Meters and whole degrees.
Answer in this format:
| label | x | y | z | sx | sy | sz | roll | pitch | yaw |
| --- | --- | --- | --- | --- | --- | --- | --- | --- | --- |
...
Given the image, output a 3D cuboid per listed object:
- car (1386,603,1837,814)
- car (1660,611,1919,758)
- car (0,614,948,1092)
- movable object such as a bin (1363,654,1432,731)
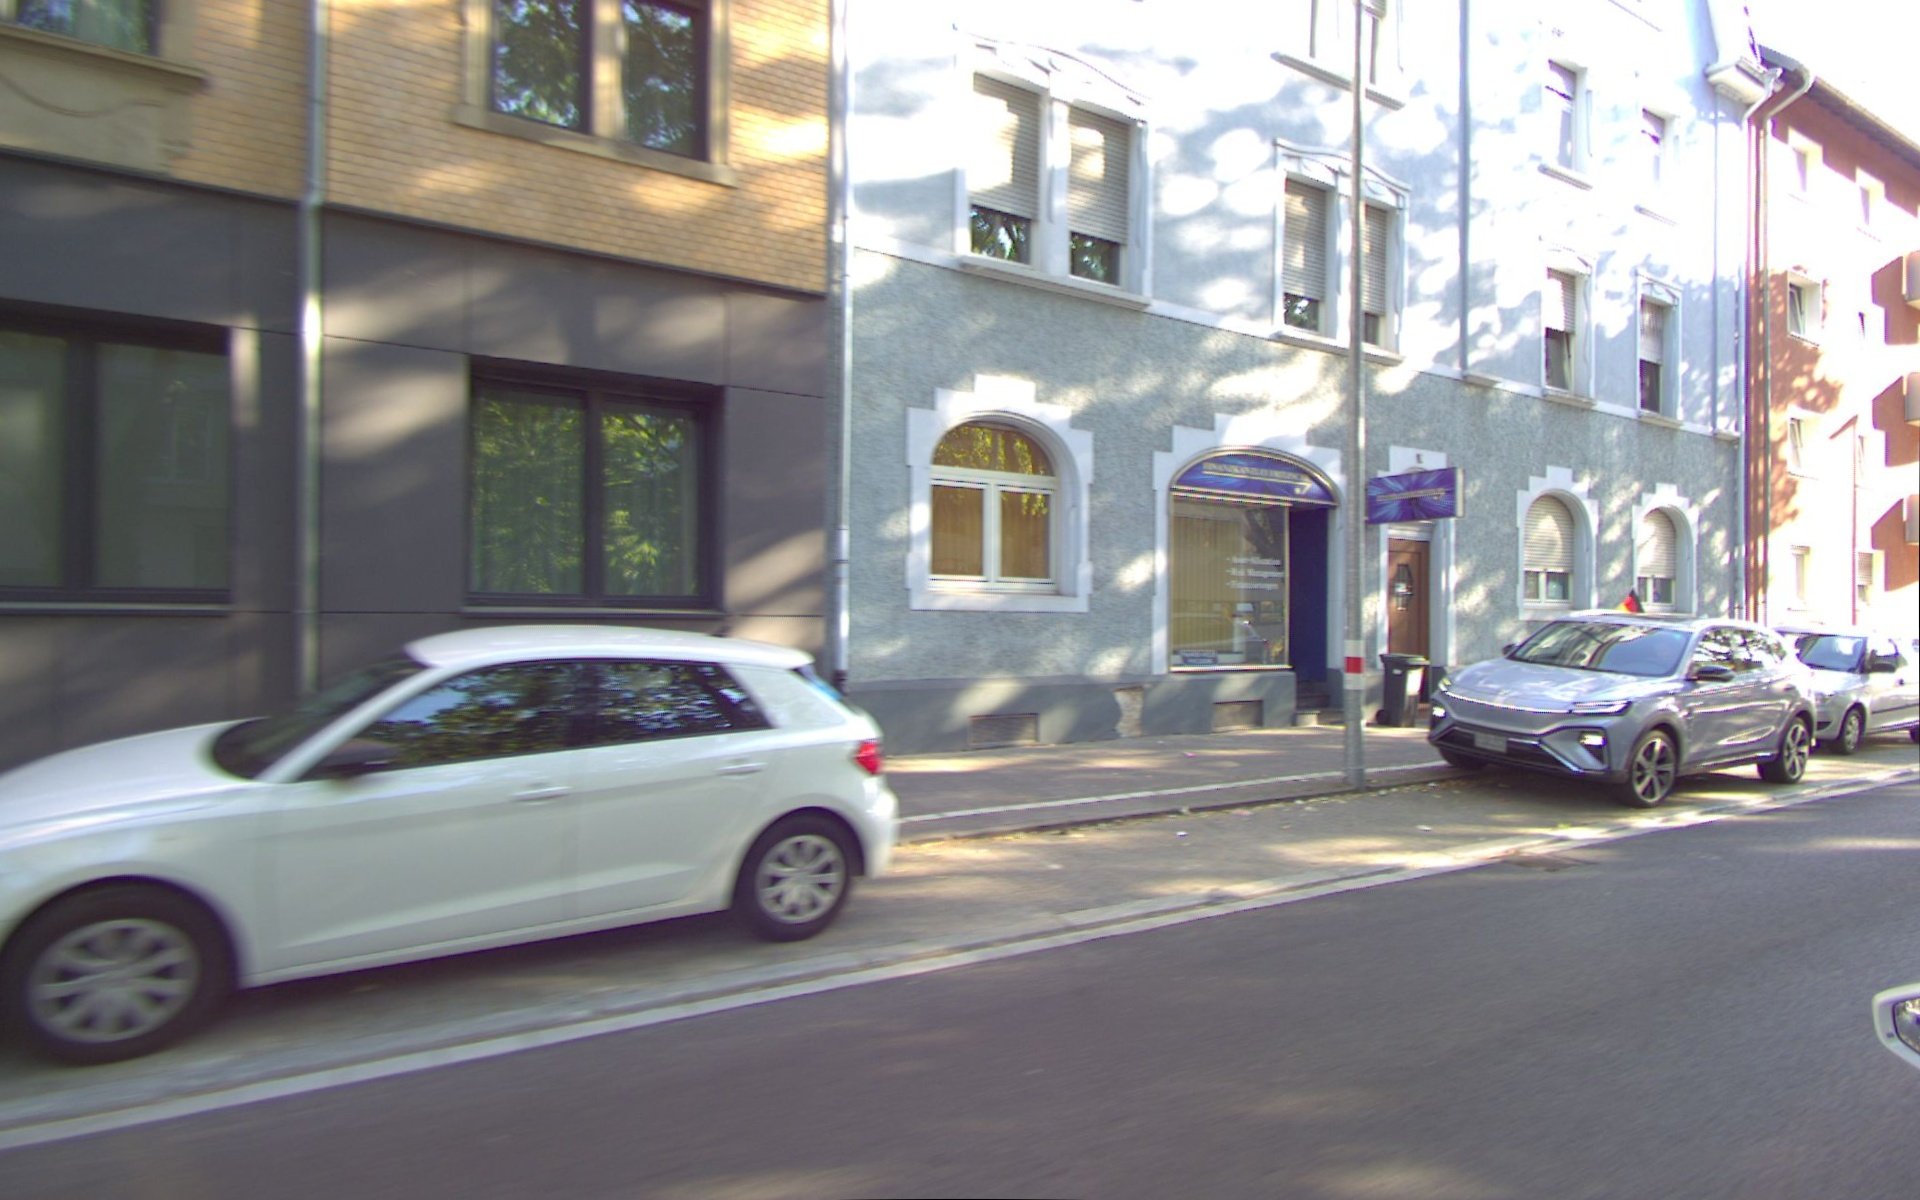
| label | x | y | z | sx | sy | sz | roll | pitch | yaw |
| --- | --- | --- | --- | --- | --- | --- | --- | --- | --- |
| car | 6.547 | 0.901 | 9.991 | 4.522 | 1.663 | 1.899 | 1 | 0 | -30 |
| car | 11.188 | 1.008 | 13.263 | 3.937 | 1.663 | 1.670 | 1 | 0 | -30 |
| car | -2.130 | 0.859 | 4.804 | 3.825 | 1.516 | 1.670 | 1 | 0 | -30 |
| movable object such as a bin | 5.787 | 1.206 | 13.284 | 0.662 | 0.959 | 0.554 | 1 | -2 | -30 |
